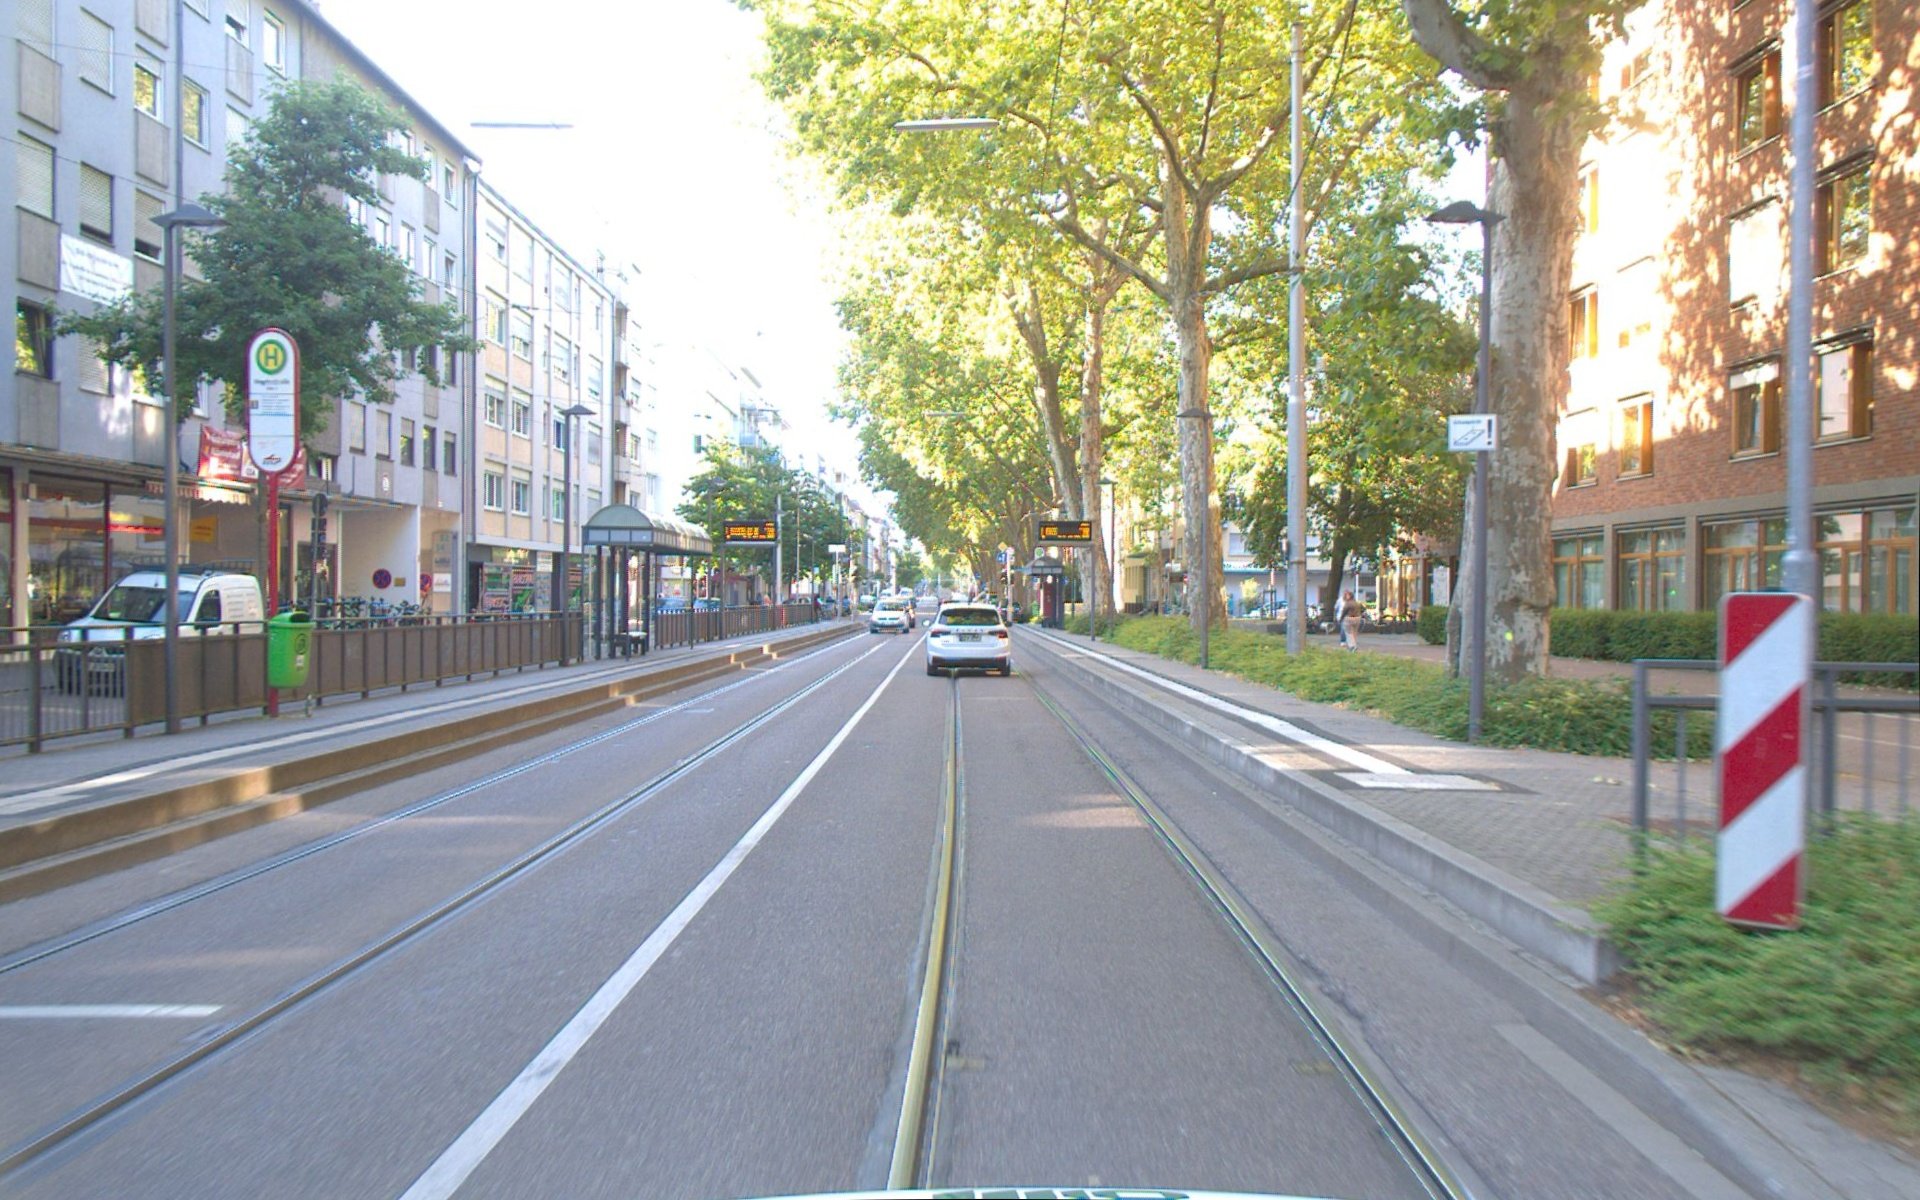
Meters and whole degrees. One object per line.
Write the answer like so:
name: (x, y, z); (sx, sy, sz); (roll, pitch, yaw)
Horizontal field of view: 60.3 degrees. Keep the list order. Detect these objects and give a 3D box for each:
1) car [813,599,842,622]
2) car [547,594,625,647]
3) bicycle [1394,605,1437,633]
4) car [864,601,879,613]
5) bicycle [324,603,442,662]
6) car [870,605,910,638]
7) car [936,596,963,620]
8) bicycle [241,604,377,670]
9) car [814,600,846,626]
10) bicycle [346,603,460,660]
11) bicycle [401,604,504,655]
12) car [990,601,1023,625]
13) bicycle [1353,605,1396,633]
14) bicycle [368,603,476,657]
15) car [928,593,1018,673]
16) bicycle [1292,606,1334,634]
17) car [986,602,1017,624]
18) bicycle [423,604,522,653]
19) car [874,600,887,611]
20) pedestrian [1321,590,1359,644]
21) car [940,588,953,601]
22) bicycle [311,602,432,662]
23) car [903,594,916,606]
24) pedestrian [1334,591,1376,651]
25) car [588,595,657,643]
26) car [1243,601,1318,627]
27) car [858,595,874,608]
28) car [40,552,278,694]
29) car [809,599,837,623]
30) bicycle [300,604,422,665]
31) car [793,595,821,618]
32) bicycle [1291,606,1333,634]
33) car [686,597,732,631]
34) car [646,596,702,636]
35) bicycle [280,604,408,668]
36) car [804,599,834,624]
car: (-9.627, 0.774, 120.039); (1.758, 1.536, 4.000); (2, 0, -1)
car: (-11.962, 0.626, 53.166); (1.561, 1.575, 4.000); (2, 0, 0)
bicycle: (17.435, 0.740, 63.338); (1.534, 1.055, 0.479); (0, 0, 22)
car: (-11.525, 0.895, 216.054); (1.752, 1.540, 4.000); (0, 0, 0)
bicycle: (-12.155, 0.681, 34.866); (2.207, 1.092, 0.636); (3, 0, 1)
car: (-3.143, 0.955, 74.603); (1.659, 1.444, 4.000); (0, 0, 0)
car: (-0.692, 0.519, 109.036); (1.752, 1.540, 4.000); (0, 0, 0)
bicycle: (-12.106, 0.682, 30.786); (2.207, 1.092, 0.636); (3, 0, 1)
car: (-8.146, 0.805, 104.134); (1.644, 1.575, 4.000); (2, 0, -1)
bicycle: (-12.152, 0.683, 36.130); (2.207, 1.092, 0.636); (3, 0, 1)
bicycle: (-12.175, 0.704, 39.707); (2.207, 1.092, 0.636); (3, 0, 1)
car: (2.968, 0.841, 106.100); (1.953, 1.478, 4.000); (0, 0, 0)
bicycle: (15.861, 0.728, 63.306); (1.534, 1.055, 0.479); (0, 0, 21)
bicycle: (-12.310, 0.685, 37.875); (2.207, 1.092, 0.636); (3, 0, 1)
car: (0.239, 0.634, 34.079); (1.752, 1.540, 4.000); (0, 0, 0)
bicycle: (13.500, 0.758, 63.206); (1.534, 1.055, 0.479); (0, 0, 21)
car: (2.762, 0.849, 111.184); (1.953, 1.478, 4.000); (0, 0, 0)
bicycle: (-12.192, 0.707, 41.392); (2.207, 1.092, 0.636); (3, 0, 1)
car: (-11.306, 0.844, 234.943); (1.752, 1.540, 4.000); (0, 0, 0)
pedestrian: (11.723, 0.518, 51.063); (0.952, 1.652, 0.887); (0, 0, -1)
car: (-1.948, -0.772, 236.459); (1.828, 1.925, 4.000); (0, 0, 0)
bicycle: (-12.171, 0.661, 34.222); (2.207, 1.092, 0.636); (3, 0, 1)
car: (-6.778, 0.001, 221.990); (1.752, 1.540, 4.000); (0, 0, 0)
pedestrian: (10.820, 0.570, 45.325); (0.952, 1.652, 0.887); (0, 0, -1)
car: (-11.814, 0.640, 58.151); (1.561, 1.575, 4.000); (2, 0, 0)
car: (17.916, 0.774, 92.539); (3.904, 1.396, 1.867); (0, 0, 1)
car: (-11.363, 0.147, 200.205); (1.752, 1.540, 4.000); (0, 0, 0)
car: (-11.904, 0.316, 24.876); (1.653, 1.974, 4.000); (0, 0, 0)
car: (-9.584, 0.764, 115.866); (1.644, 1.575, 4.000); (2, 0, -1)
bicycle: (-12.171, 0.687, 33.637); (2.207, 1.092, 0.636); (3, 0, 1)
car: (-11.432, 0.467, 123.605); (1.644, 1.575, 4.000); (2, 0, -1)
bicycle: (13.659, 0.761, 64.122); (1.534, 1.055, 0.504); (0, 0, 21)
car: (-12.395, 0.681, 81.798); (1.644, 1.575, 4.000); (2, 0, -1)
car: (-12.009, 0.661, 69.645); (1.644, 1.575, 4.000); (2, 0, -1)
bicycle: (-12.070, 0.698, 32.433); (2.207, 1.092, 0.636); (3, 0, 1)
car: (-9.491, 0.760, 111.674); (1.644, 1.575, 4.000); (2, 0, -1)
